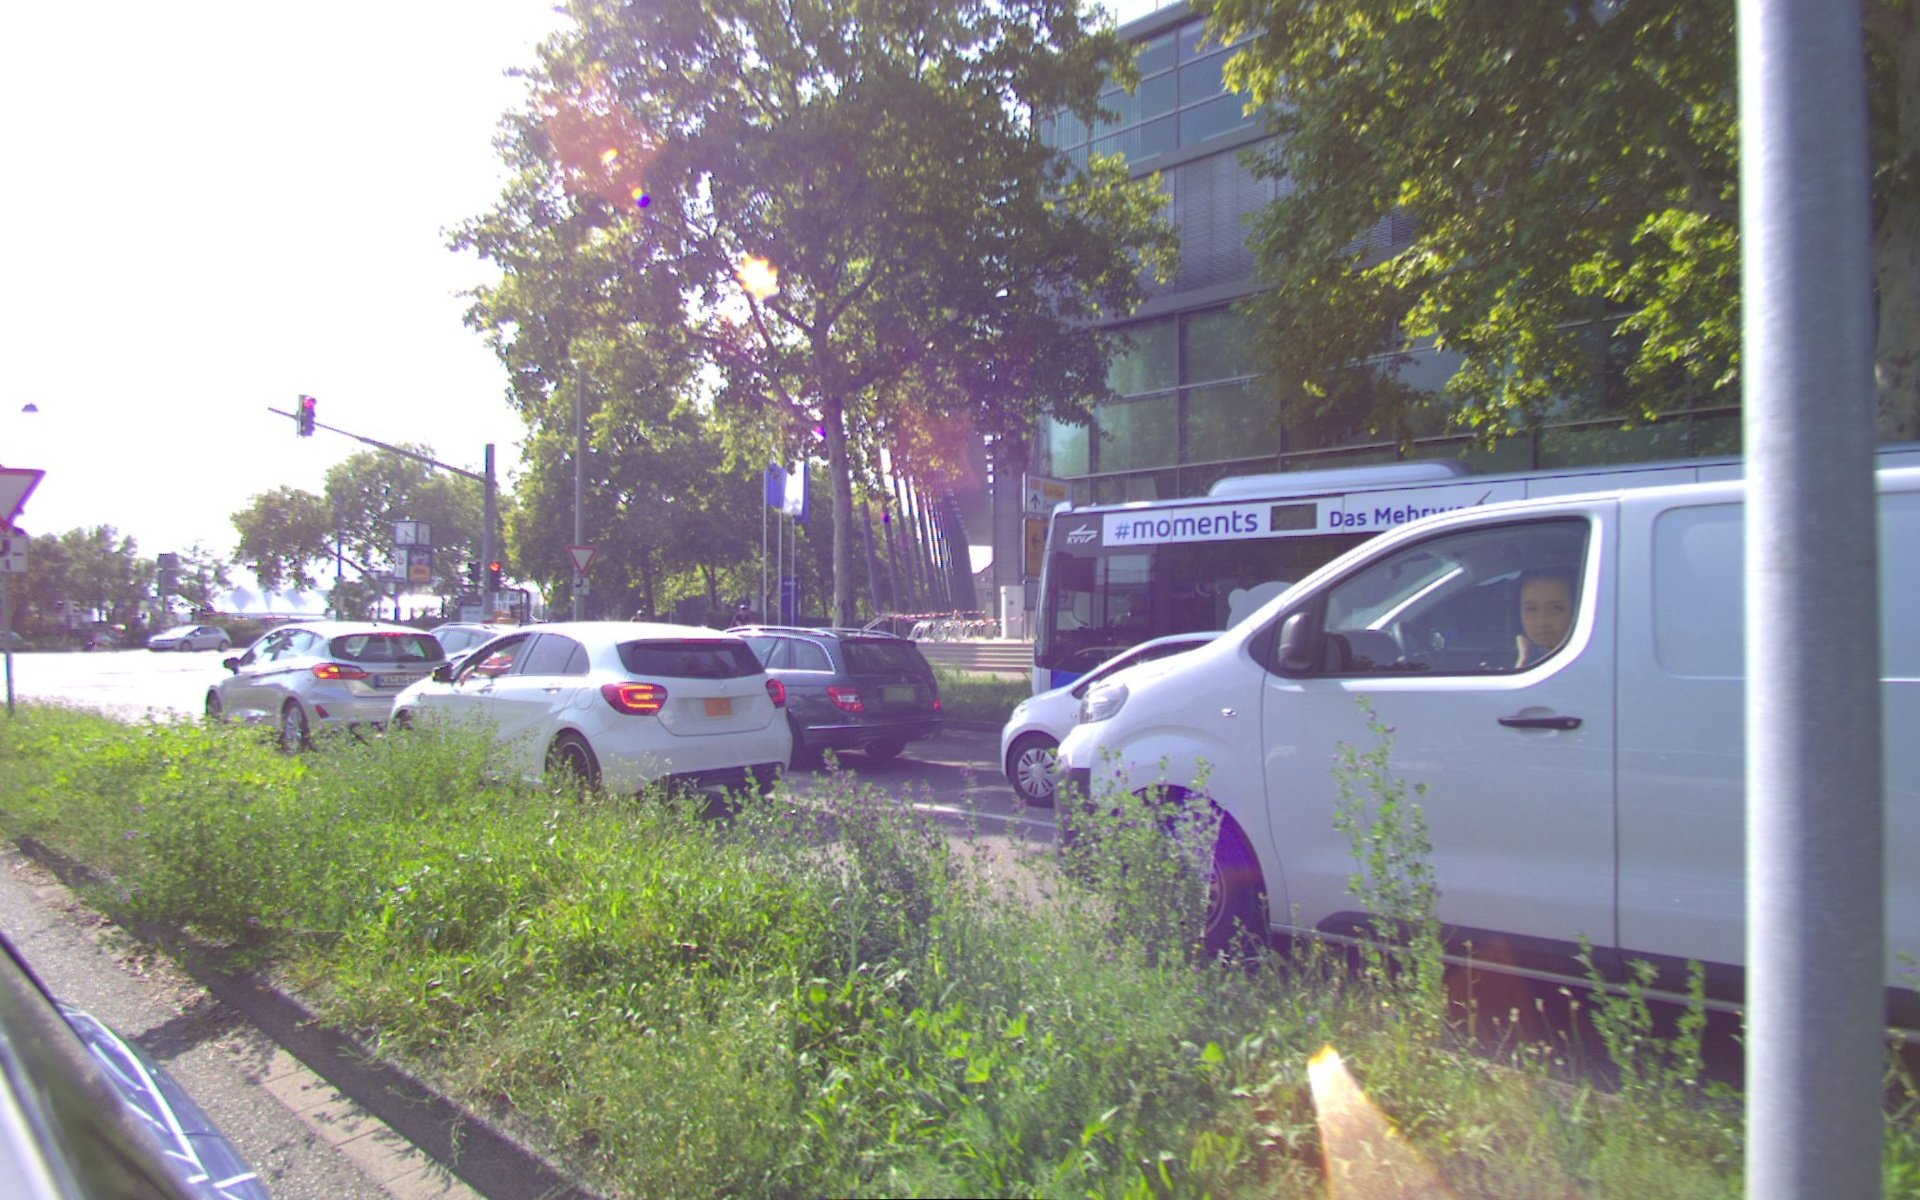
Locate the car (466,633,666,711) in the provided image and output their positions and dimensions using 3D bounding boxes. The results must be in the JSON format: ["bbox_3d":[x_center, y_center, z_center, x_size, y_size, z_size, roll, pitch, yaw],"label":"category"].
[{"bbox_3d":[-7.732,1.349,19.720,4.153,1.363,1.693,-1,-4,37],"label":"car"}]

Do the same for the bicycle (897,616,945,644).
[{"bbox_3d":[-1.512,1.161,39.205,1.838,1.102,0.528,0,-1,-8],"label":"bicycle"}]

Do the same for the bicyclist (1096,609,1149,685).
[{"bbox_3d":[3.381,0.962,21.050,0.884,1.529,0.648,-1,-1,38],"label":"bicyclist"}]

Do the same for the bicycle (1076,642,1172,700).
[{"bbox_3d":[3.394,1.457,21.024,1.885,1.119,0.649,-1,-1,38],"label":"bicycle"}]

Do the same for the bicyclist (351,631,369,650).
[{"bbox_3d":[-37.508,2.514,63.276,0.901,1.149,0.518,0,-2,18],"label":"bicyclist"}]

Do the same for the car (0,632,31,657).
[{"bbox_3d":[-62.560,2.842,65.020,3.944,1.564,1.999,0,-2,1],"label":"car"}]

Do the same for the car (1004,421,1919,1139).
[{"bbox_3d":[2.701,0.515,3.729,4.883,1.878,1.893,-1,-3,38],"label":"car"}]

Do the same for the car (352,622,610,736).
[{"bbox_3d":[-7.443,1.128,15.585,4.257,1.515,1.837,-1,-3,37],"label":"car"}]

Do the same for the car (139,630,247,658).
[{"bbox_3d":[-43.384,2.456,57.412,1.835,1.457,5.426,0,-1,3],"label":"car"}]

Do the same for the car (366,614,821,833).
[{"bbox_3d":[-3.207,0.889,8.504,4.078,1.413,1.692,-2,-4,39],"label":"car"}]

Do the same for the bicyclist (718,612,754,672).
[{"bbox_3d":[-6.548,1.218,29.545,0.809,1.701,0.660,-2,-3,42],"label":"bicyclist"}]

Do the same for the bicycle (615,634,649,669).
[{"bbox_3d":[-10.594,1.653,32.662,0.633,1.103,1.654,1,-2,-33],"label":"bicycle"}]

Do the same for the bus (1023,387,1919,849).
[{"bbox_3d":[6.285,0.147,8.583,12.298,3.103,2.565,-1,-1,39],"label":"bus"}]

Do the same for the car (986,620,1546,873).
[{"bbox_3d":[2.243,0.937,7.871,3.816,1.478,1.690,-1,-4,38],"label":"car"}]

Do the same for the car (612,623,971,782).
[{"bbox_3d":[-1.979,1.028,11.322,3.995,1.453,1.690,-1,-4,38],"label":"car"}]

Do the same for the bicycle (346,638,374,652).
[{"bbox_3d":[-37.516,2.805,63.269,1.722,0.872,0.527,0,-2,18],"label":"bicycle"}]

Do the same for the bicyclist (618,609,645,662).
[{"bbox_3d":[-10.610,1.142,32.699,0.623,1.701,0.811,1,-2,-33],"label":"bicyclist"}]

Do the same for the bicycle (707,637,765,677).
[{"bbox_3d":[-6.535,1.641,29.507,1.896,1.099,0.677,-1,-2,42],"label":"bicycle"}]

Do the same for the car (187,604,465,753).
[{"bbox_3d":[-7.691,0.843,12.135,3.996,1.507,1.627,-1,-2,39],"label":"car"}]
